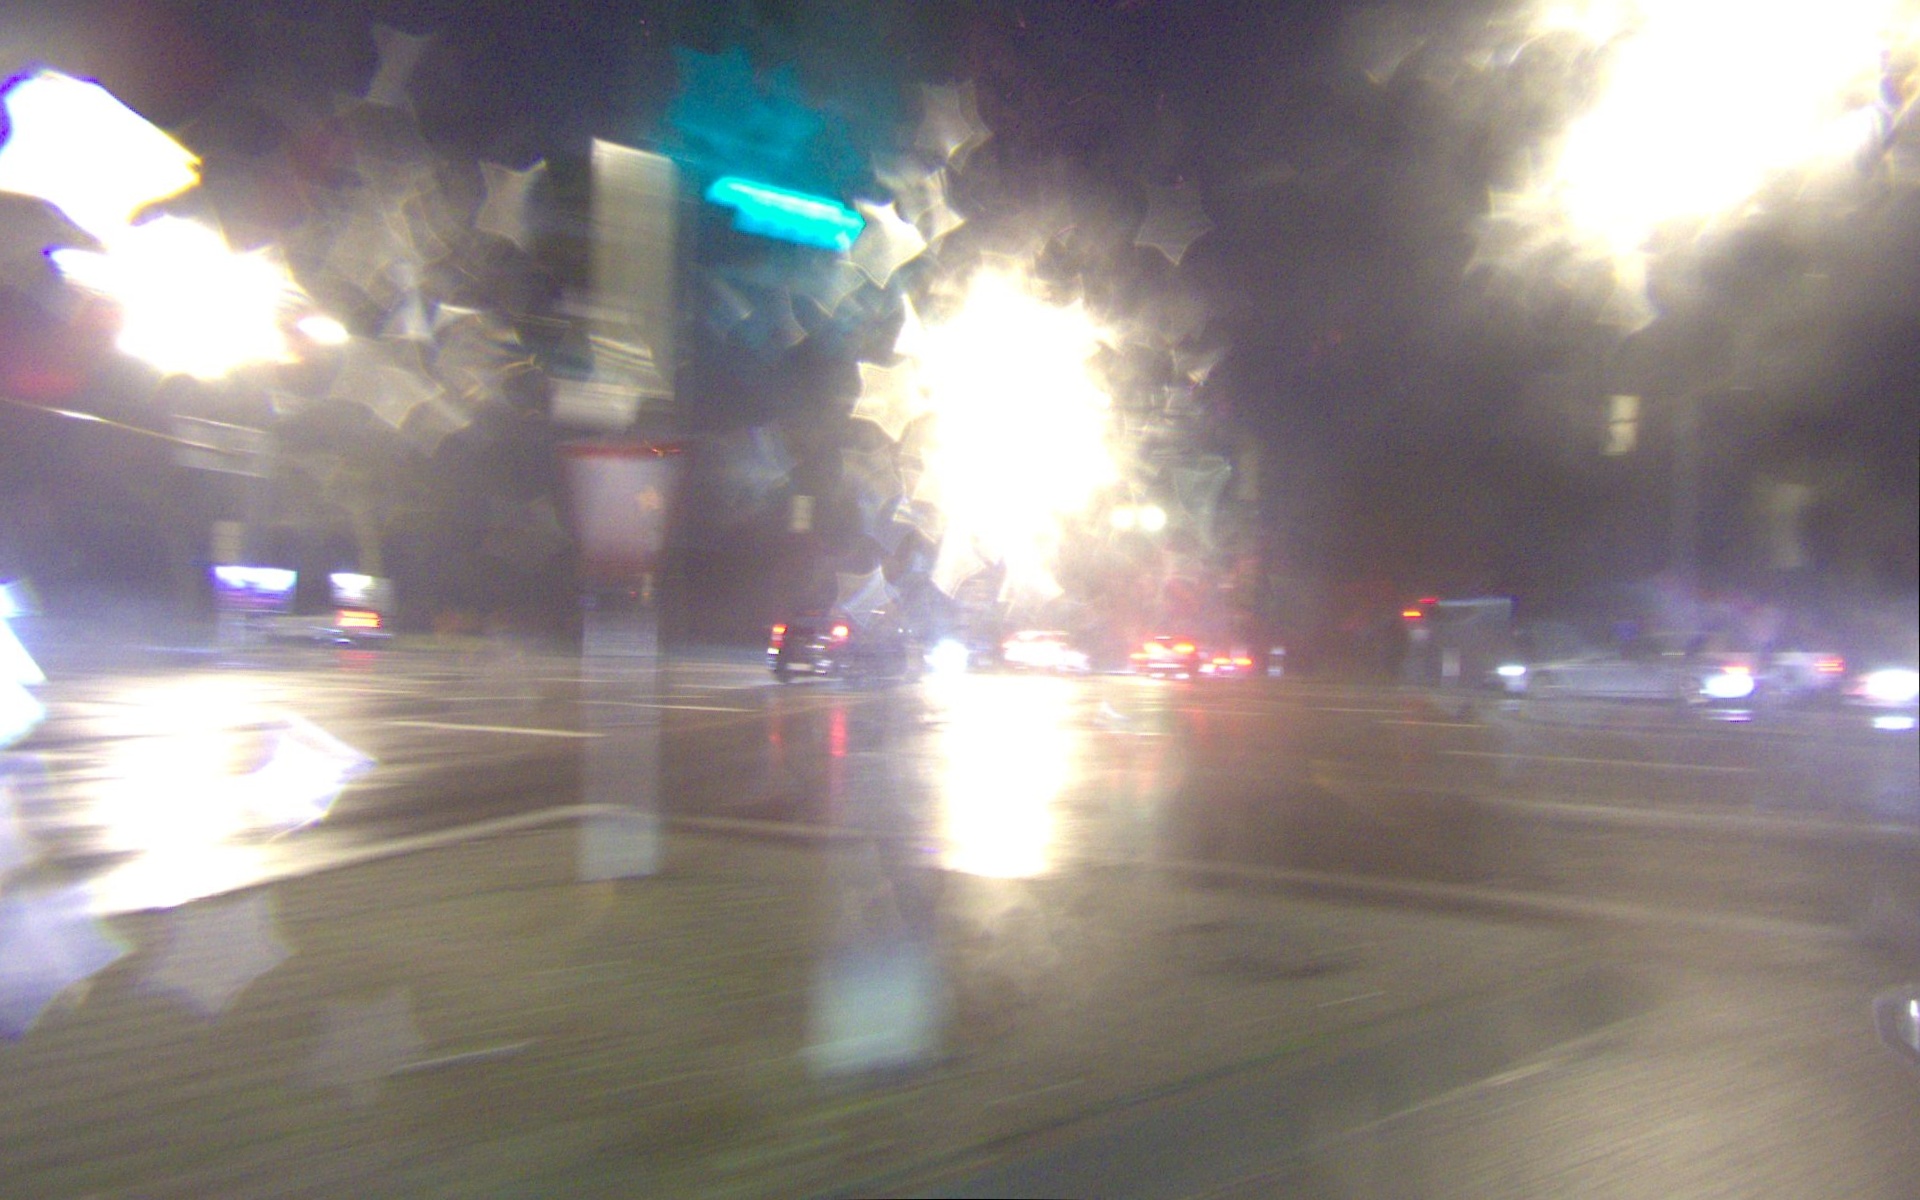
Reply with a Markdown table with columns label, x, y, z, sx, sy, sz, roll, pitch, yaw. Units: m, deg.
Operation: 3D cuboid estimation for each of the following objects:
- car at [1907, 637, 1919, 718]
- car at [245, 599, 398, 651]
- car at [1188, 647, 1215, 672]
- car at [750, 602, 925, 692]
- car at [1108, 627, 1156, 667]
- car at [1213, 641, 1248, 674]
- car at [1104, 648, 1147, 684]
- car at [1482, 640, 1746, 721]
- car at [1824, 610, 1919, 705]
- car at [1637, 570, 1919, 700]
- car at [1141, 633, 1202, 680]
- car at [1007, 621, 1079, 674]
| label | x | y | z | sx | sy | sz | roll | pitch | yaw |
| --- | --- | --- | --- | --- | --- | --- | --- | --- | --- |
| car | 19.644 | 1.515 | 17.634 | 3.978 | 1.507 | 1.718 | 2 | -1 | 21 |
| car | -21.734 | 0.829 | 34.331 | 3.960 | 1.494 | 1.835 | 3 | 1 | -4 |
| car | 19.184 | 4.682 | 79.584 | 1.798 | 1.662 | 4.001 | 3 | 1 | 16 |
| car | -2.305 | 0.842 | 20.085 | 1.800 | 1.427 | 4.121 | 3 | 2 | 19 |
| car | 10.371 | 2.770 | 60.208 | 1.748 | 2.107 | 3.995 | 3 | 2 | 26 |
| car | 16.670 | 3.496 | 61.775 | 1.797 | 1.675 | 4.481 | 3 | 0 | 18 |
| car | 8.582 | 3.382 | 51.857 | 1.877 | 1.680 | 3.989 | 2 | -2 | 14 |
| car | 14.756 | 1.781 | 22.979 | 4.707 | 1.446 | 1.766 | 3 | -1 | 18 |
| car | 21.105 | 1.286 | 20.970 | 4.199 | 1.873 | 1.766 | 4 | 1 | 17 |
| car | 20.436 | 0.782 | 25.116 | 5.509 | 2.746 | 2.252 | 4 | 1 | 30 |
| car | 8.184 | 2.134 | 38.635 | 1.819 | 1.612 | 4.025 | 2 | -1 | 18 |
| car | 2.827 | 1.508 | 33.387 | 1.707 | 1.455 | 4.292 | 3 | 1 | 13 |
